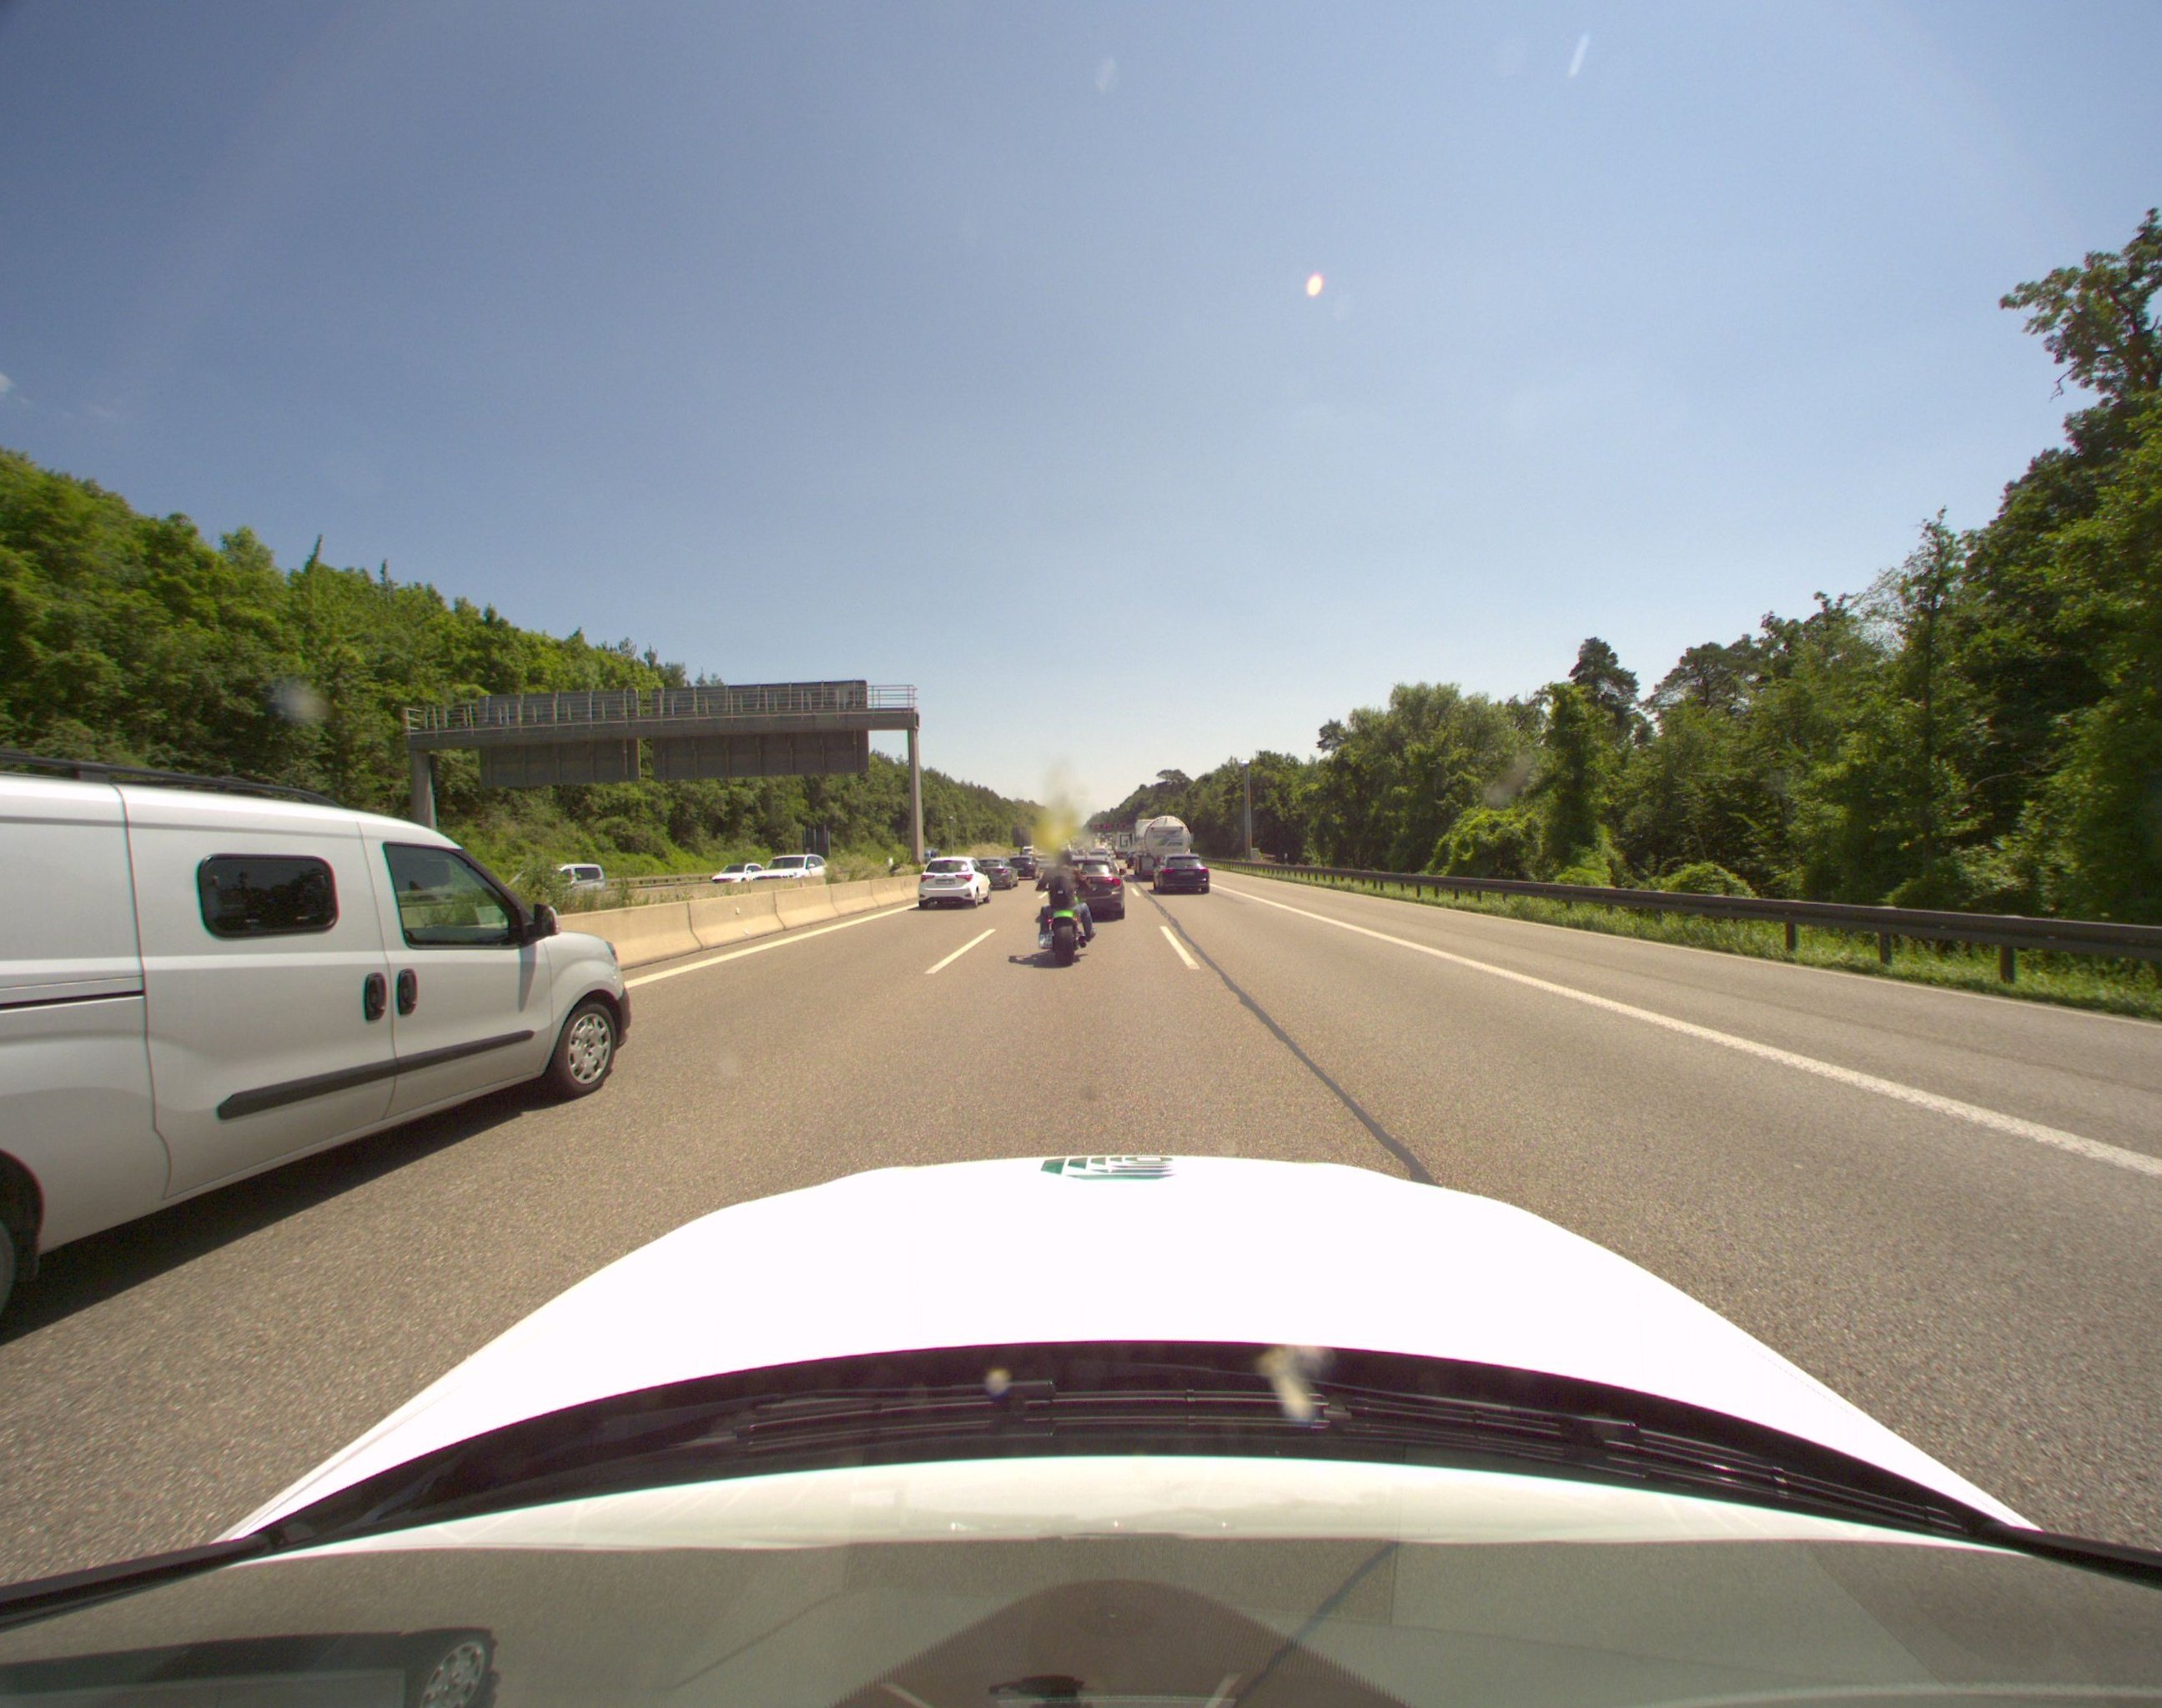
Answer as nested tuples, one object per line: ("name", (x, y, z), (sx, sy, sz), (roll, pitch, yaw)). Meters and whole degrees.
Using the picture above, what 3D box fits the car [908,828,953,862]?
("car", (-9.818, -0.543, 53.551), (1.987, 2.014, 5.153), (-1, -1, 0))

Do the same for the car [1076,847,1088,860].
("car", (0.099, -0.104, 126.034), (1.654, 1.978, 4.002), (-1, -1, 2))

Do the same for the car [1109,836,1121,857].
("car", (6.743, -1.402, 162.818), (2.159, 3.893, 9.332), (-1, -1, 2))

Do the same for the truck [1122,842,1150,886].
("truck", (5.905, 1.050, 88.987), (2.380, 4.464, 10.870), (-1, 0, 1))

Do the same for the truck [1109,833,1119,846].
("truck", (9.126, -3.952, 228.121), (2.686, 3.405, 10.481), (-2, -1, 2))

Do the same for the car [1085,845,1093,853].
("car", (1.965, -1.219, 198.124), (1.986, 2.014, 4.001), (-2, -1, 2))

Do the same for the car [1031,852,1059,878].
("car", (-2.867, 0.934, 65.984), (1.986, 2.014, 4.000), (-1, -1, 1))

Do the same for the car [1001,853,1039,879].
("car", (-3.590, 0.713, 48.644), (1.987, 1.464, 3.998), (-1, -1, -1))

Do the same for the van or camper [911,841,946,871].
("van or camper", (-15.389, 0.282, 82.700), (2.146, 2.859, 6.653), (-1, -1, 1))

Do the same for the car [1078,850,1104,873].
("car", (0.787, 0.599, 64.817), (1.987, 1.775, 4.000), (-1, -1, 1))

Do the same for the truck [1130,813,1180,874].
("truck", (4.672, -0.572, 52.506), (2.817, 3.671, 6.431), (-1, -1, 2))

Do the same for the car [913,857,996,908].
("car", (-3.759, 0.812, 24.754), (1.769, 1.411, 4.001), (-1, -1, 2))

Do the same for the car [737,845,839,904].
("car", (-10.759, 0.738, 30.259), (1.985, 2.014, 4.351), (-1, -1, 4))

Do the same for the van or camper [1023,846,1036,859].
("van or camper", (-10.612, -0.245, 167.659), (2.144, 2.423, 6.198), (-1, -1, 2))

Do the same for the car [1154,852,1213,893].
("car", (3.827, 0.706, 31.164), (1.785, 1.458, 4.625), (-1, -1, 2))

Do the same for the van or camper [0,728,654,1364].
("van or camper", (-4.091, 0.572, 3.646), (1.846, 1.880, 4.563), (-1, 0, 1))

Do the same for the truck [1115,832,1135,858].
("truck", (6.788, -1.297, 124.256), (2.840, 3.821, 7.195), (-1, -1, 4))

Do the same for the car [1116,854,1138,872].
("car", (3.925, 0.776, 70.080), (1.769, 1.527, 4.001), (-1, -1, 2))

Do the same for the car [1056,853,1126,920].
("car", (0.285, 0.736, 19.972), (1.535, 1.450, 4.001), (-1, 0, 2))

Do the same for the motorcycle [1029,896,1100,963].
("motorcycle", (-0.196, 1.079, 12.135), (0.932, 0.793, 2.299), (-1, -1, 2))

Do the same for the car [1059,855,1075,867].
("car", (-1.784, 0.900, 104.379), (1.757, 1.442, 4.002), (-1, 0, 2))

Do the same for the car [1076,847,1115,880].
("car", (0.791, 0.538, 44.277), (1.987, 1.711, 4.000), (-1, -1, 1))

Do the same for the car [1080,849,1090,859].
("car", (0.714, -0.019, 145.135), (1.654, 1.599, 4.002), (-1, -1, 2))

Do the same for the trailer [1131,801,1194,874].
("trailer", (4.496, -0.712, 46.775), (2.817, 3.671, 10.735), (-1, -1, 2))

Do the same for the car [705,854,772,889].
("car", (-20.866, 1.070, 49.829), (2.115, 2.014, 4.366), (-1, -1, 2))

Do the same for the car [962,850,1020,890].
("car", (-3.956, 0.726, 36.654), (1.986, 1.684, 4.331), (-1, -1, 2))

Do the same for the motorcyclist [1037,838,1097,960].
("motorcyclist", (-0.185, 0.631, 11.811), (0.796, 1.688, 1.017), (-1, -1, 1))
